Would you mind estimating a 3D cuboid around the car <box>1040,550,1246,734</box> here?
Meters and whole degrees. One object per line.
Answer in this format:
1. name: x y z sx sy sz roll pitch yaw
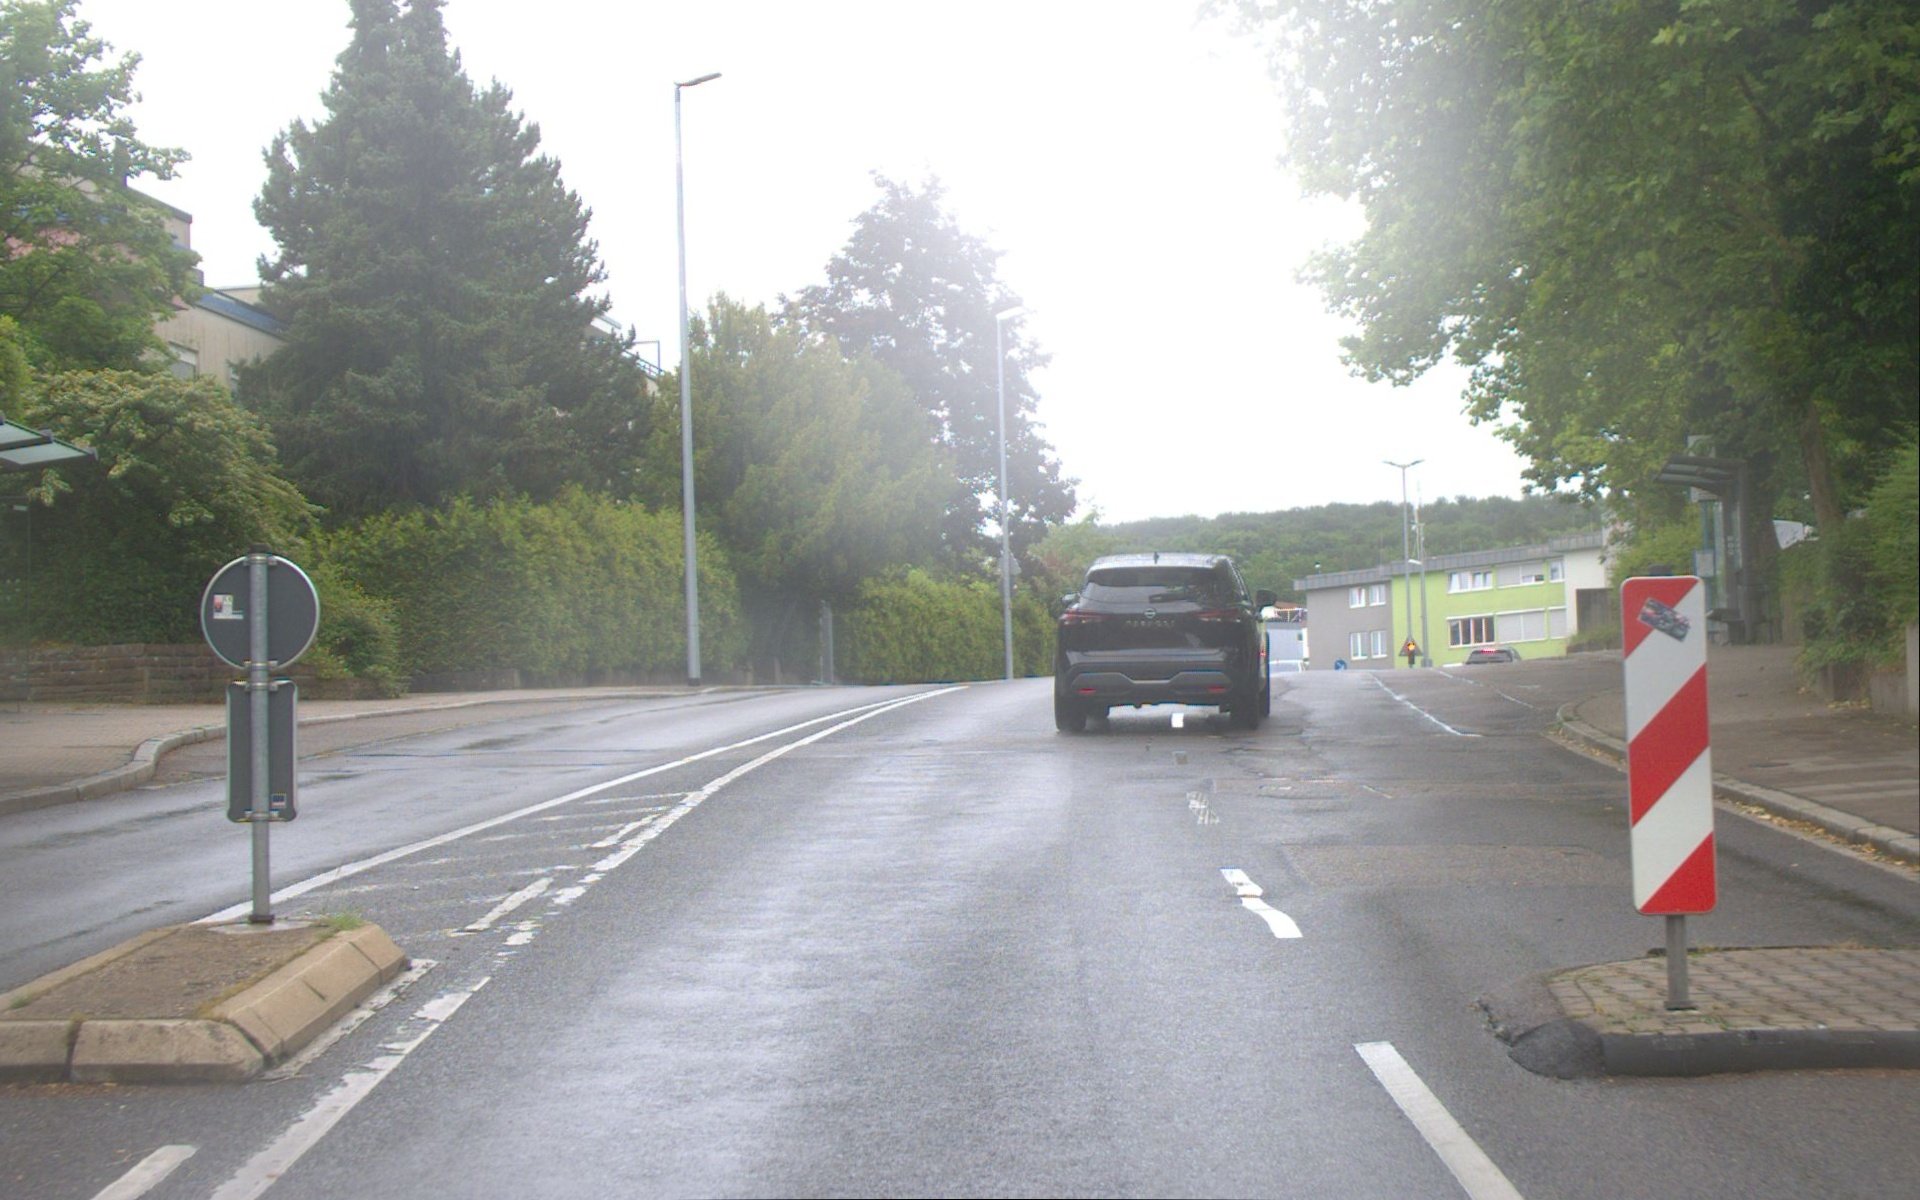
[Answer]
1. car: 1.666 0.350 32.125 1.790 1.598 4.253 0 0 2
